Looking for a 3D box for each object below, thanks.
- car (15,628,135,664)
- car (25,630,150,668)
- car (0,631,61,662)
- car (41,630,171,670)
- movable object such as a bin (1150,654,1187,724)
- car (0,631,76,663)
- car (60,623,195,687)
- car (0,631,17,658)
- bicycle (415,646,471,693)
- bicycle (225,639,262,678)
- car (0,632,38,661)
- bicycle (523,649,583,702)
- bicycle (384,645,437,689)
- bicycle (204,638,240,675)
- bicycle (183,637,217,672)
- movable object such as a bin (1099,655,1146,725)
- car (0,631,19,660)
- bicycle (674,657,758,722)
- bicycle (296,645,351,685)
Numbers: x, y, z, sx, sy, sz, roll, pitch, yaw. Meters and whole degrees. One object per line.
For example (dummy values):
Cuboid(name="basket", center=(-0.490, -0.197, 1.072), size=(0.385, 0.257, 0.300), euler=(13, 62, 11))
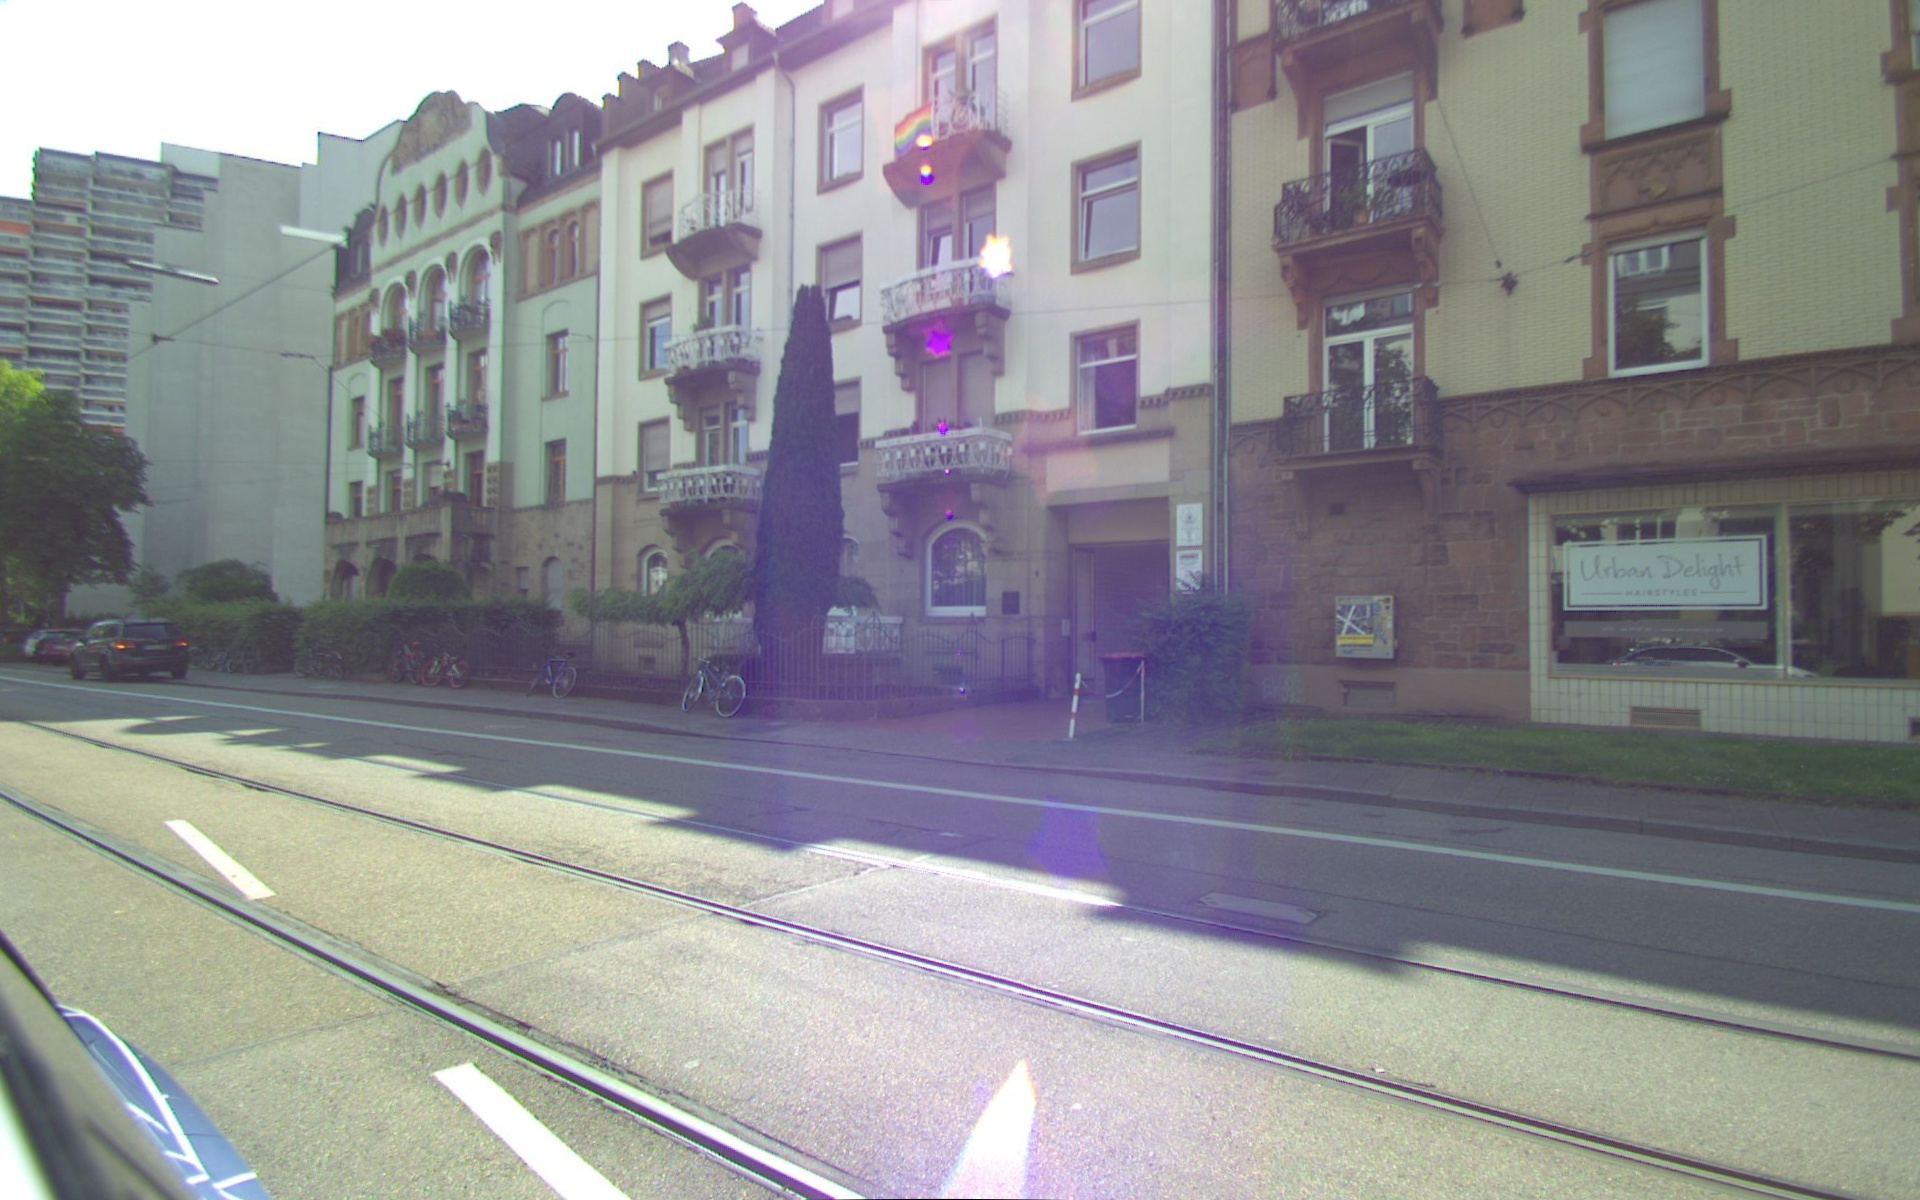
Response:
Cuboid(name="car", center=(-39.880, 2.065, 45.670), size=(3.939, 1.519, 2.002), euler=(2, -3, -42))
Cuboid(name="car", center=(-37.263, 2.075, 43.268), size=(3.939, 1.519, 2.002), euler=(2, -3, -42))
Cuboid(name="car", center=(-47.669, 2.316, 50.678), size=(3.939, 1.519, 2.002), euler=(2, -3, -42))
Cuboid(name="car", center=(-34.570, 1.999, 41.025), size=(3.939, 1.519, 2.002), euler=(2, -3, -42))
Cuboid(name="movable object such as a bin", center=(3.185, 1.356, 15.478), size=(0.531, 1.037, 0.475), euler=(0, -2, 10))
Cuboid(name="car", center=(-45.205, 2.245, 48.711), size=(3.939, 1.519, 2.002), euler=(2, -3, -42))
Cuboid(name="car", center=(-23.860, 1.519, 28.965), size=(4.392, 1.708, 1.899), euler=(-1, -3, 36))
Cuboid(name="car", center=(-55.257, 2.490, 56.379), size=(3.939, 1.519, 2.002), euler=(2, -3, -42))
Cuboid(name="bicycle", center=(-11.846, 1.575, 23.158), size=(1.785, 1.003, 0.462), euler=(-1, -3, 40))
Cuboid(name="bicycle", center=(-22.134, 1.792, 31.250), size=(1.785, 1.144, 0.462), euler=(-1, -3, 40))
Cuboid(name="car", center=(-50.359, 2.397, 52.316), size=(3.939, 1.519, 2.002), euler=(2, -3, -42))
Cuboid(name="bicycle", center=(-8.248, 1.510, 20.477), size=(1.788, 1.003, 0.461), euler=(-2, -3, 45))
Cuboid(name="bicycle", center=(-13.267, 1.607, 24.415), size=(1.785, 1.003, 0.462), euler=(-1, -3, 40))
Cuboid(name="bicycle", center=(-23.665, 1.807, 32.445), size=(1.785, 1.144, 0.462), euler=(-1, -3, 40))
Cuboid(name="bicycle", center=(-25.325, 1.799, 33.727), size=(1.785, 1.144, 0.462), euler=(-1, -3, 40))
Cuboid(name="movable object such as a bin", center=(2.488, 1.365, 15.493), size=(0.698, 1.037, 0.475), euler=(0, -2, 12))
Cuboid(name="car", center=(-53.058, 2.419, 54.086), size=(3.939, 1.519, 2.002), euler=(2, -3, -42))
Cuboid(name="bicycle", center=(-4.162, 1.487, 17.193), size=(0.461, 1.003, 1.980), euler=(2, -3, -43))
Cuboid(name="bicycle", center=(-16.751, 1.700, 26.611), size=(1.979, 1.003, 0.597), euler=(-1, -3, 39))
